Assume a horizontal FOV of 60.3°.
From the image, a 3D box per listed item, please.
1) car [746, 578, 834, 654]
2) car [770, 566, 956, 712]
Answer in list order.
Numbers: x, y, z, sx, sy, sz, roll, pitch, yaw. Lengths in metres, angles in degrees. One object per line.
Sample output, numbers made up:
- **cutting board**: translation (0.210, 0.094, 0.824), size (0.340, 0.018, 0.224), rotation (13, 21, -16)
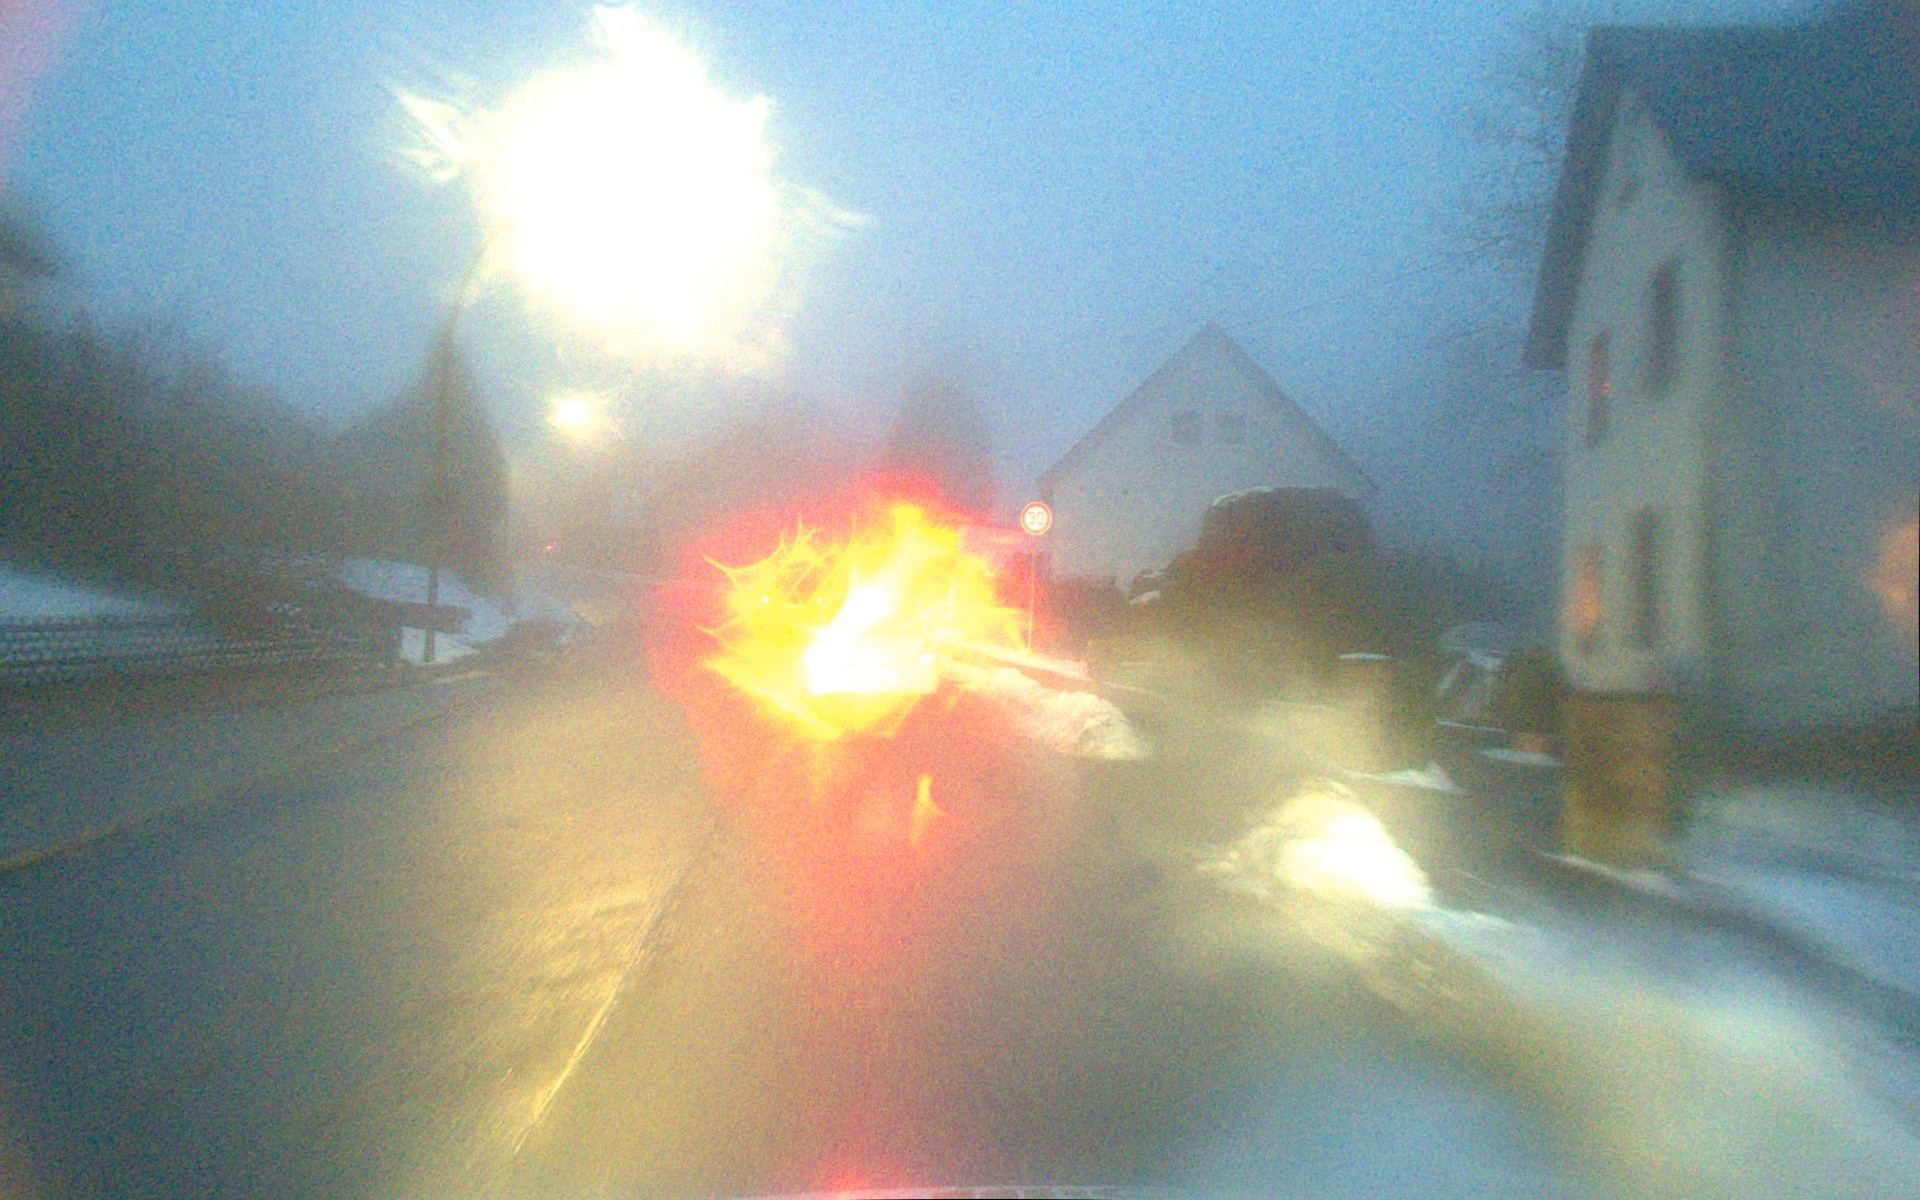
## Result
- **car**: translation (-4.190, 0.402, 40.352), size (1.956, 1.767, 3.871), rotation (0, -1, -8)
- **car**: translation (-1.313, 0.469, 20.635), size (1.863, 1.637, 3.990), rotation (0, -1, -10)
